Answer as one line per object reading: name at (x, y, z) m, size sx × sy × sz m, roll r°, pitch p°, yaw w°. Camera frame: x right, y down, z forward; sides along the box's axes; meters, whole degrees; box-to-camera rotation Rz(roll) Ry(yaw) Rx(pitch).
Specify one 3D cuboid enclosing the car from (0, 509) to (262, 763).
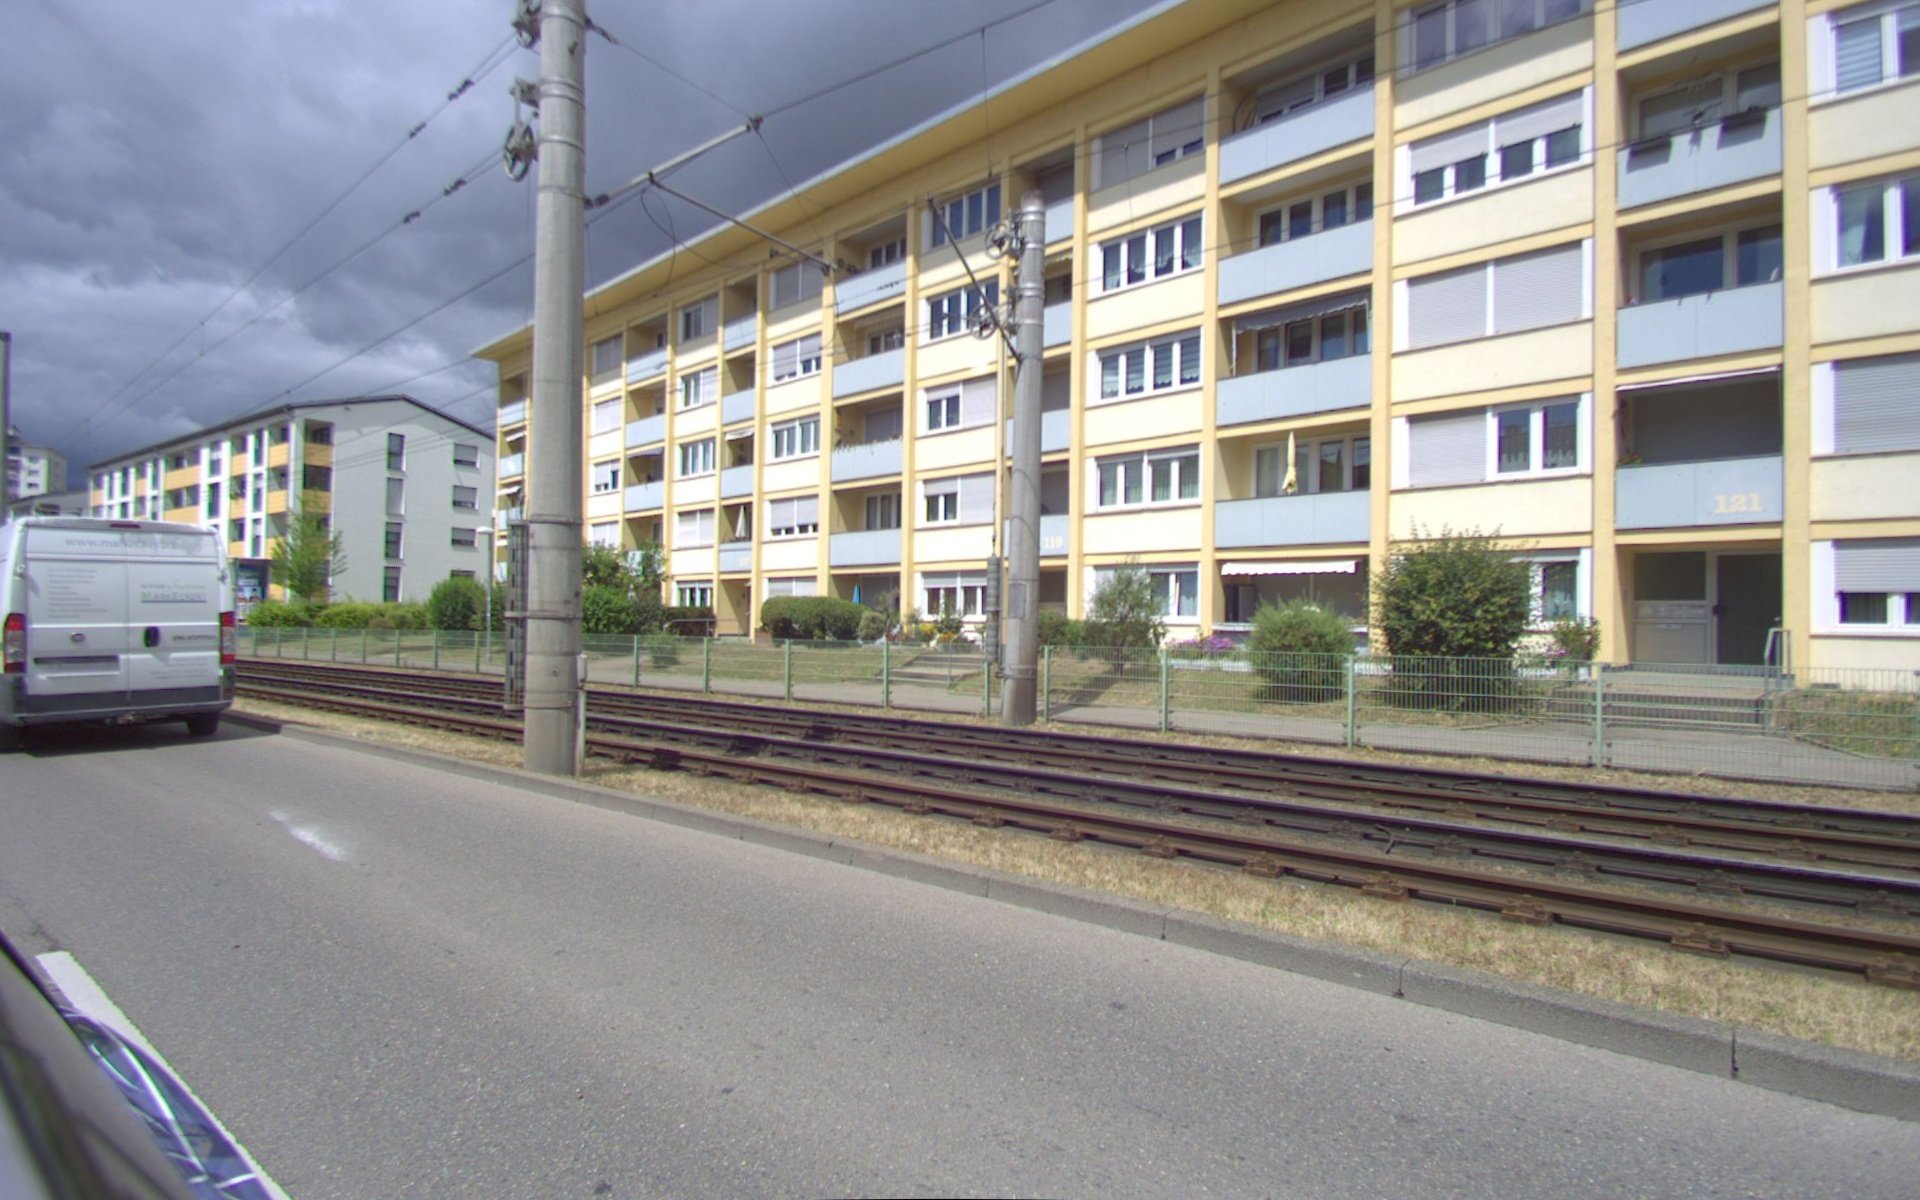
car at (-10.714, 0.414, 12.377) m, size 5.082 × 2.493 × 2.209 m, roll -1°, pitch -3°, yaw 39°
